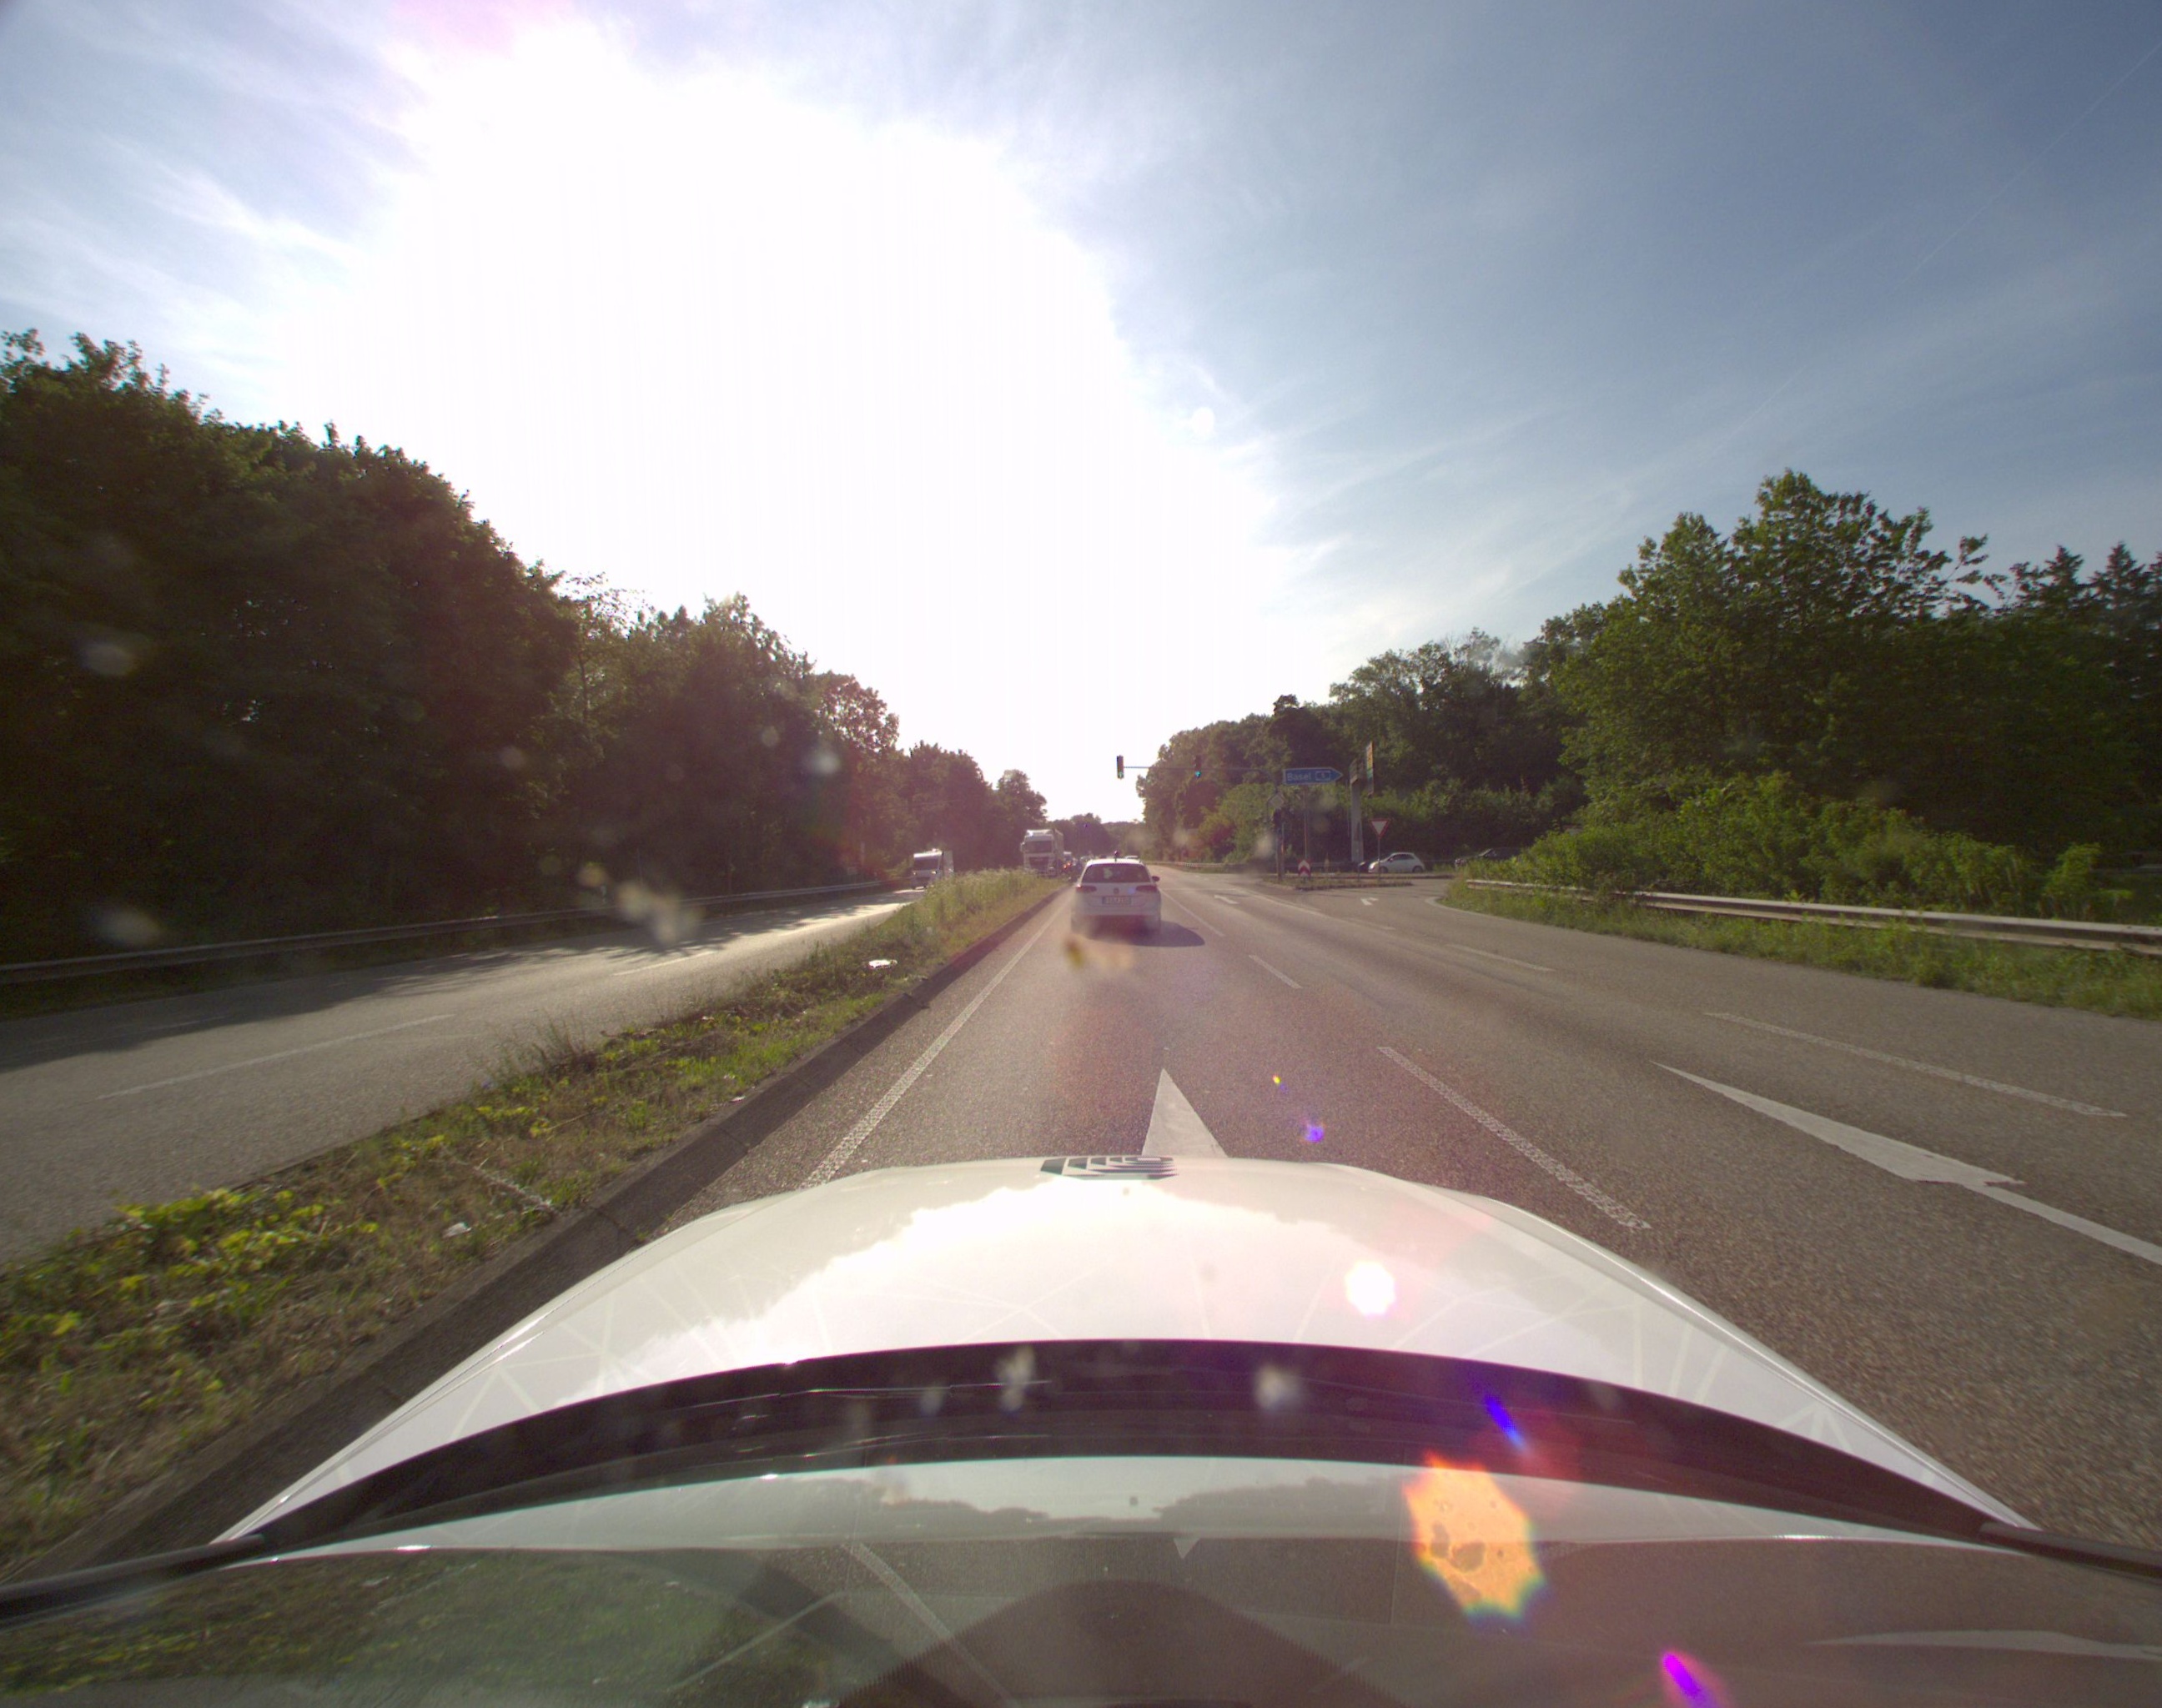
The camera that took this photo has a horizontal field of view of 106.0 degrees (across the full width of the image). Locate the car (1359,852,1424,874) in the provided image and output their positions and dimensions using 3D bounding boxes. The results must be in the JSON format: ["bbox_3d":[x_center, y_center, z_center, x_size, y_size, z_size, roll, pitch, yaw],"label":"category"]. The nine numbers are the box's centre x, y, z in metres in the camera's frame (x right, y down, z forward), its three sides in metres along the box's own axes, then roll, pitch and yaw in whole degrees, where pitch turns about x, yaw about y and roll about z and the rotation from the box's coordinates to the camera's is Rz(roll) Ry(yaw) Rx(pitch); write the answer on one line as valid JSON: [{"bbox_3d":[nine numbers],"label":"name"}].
[{"bbox_3d":[22.484,0.639,59.042,4.089,1.496,1.788,-1,0,5],"label":"car"}]

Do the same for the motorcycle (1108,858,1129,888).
[{"bbox_3d":[1.999,0.968,43.313,0.904,1.453,2.692,-5,0,4],"label":"motorcycle"}]

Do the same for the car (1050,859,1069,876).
[{"bbox_3d":[-2.161,1.351,84.105,1.694,1.631,4.371,-3,0,1],"label":"car"}]

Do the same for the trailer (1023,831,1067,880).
[{"bbox_3d":[-3.107,0.148,74.580,2.981,3.996,14.016,-1,0,1],"label":"trailer"}]

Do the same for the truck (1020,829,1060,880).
[{"bbox_3d":[-3.294,0.062,66.895,2.881,3.997,6.722,0,0,1],"label":"truck"}]

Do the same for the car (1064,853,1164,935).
[{"bbox_3d":[0.724,0.767,17.729,1.862,1.521,4.837,-1,0,3],"label":"car"}]

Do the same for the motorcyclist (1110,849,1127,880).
[{"bbox_3d":[1.994,0.574,43.431,0.880,1.616,1.292,0,0,4],"label":"motorcyclist"}]

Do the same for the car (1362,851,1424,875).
[{"bbox_3d":[21.191,0.603,55.418,3.579,1.503,1.812,-1,0,6],"label":"car"}]

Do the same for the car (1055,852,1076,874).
[{"bbox_3d":[-1.901,1.140,100.692,2.067,2.533,6.167,-3,0,2],"label":"car"}]

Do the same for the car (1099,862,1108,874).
[{"bbox_3d":[5.644,3.440,203.259,2.201,2.888,7.014,-3,0,2],"label":"car"}]

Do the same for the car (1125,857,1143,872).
[{"bbox_3d":[5.161,1.009,79.886,1.754,1.380,3.975,-1,0,3],"label":"car"}]

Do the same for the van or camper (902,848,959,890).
[{"bbox_3d":[-10.750,1.045,58.766,2.403,2.711,6.440,-4,-1,2],"label":"van or camper"}]

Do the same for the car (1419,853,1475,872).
[{"bbox_3d":[27.491,0.637,61.237,3.607,1.313,1.494,-1,0,6],"label":"car"}]
